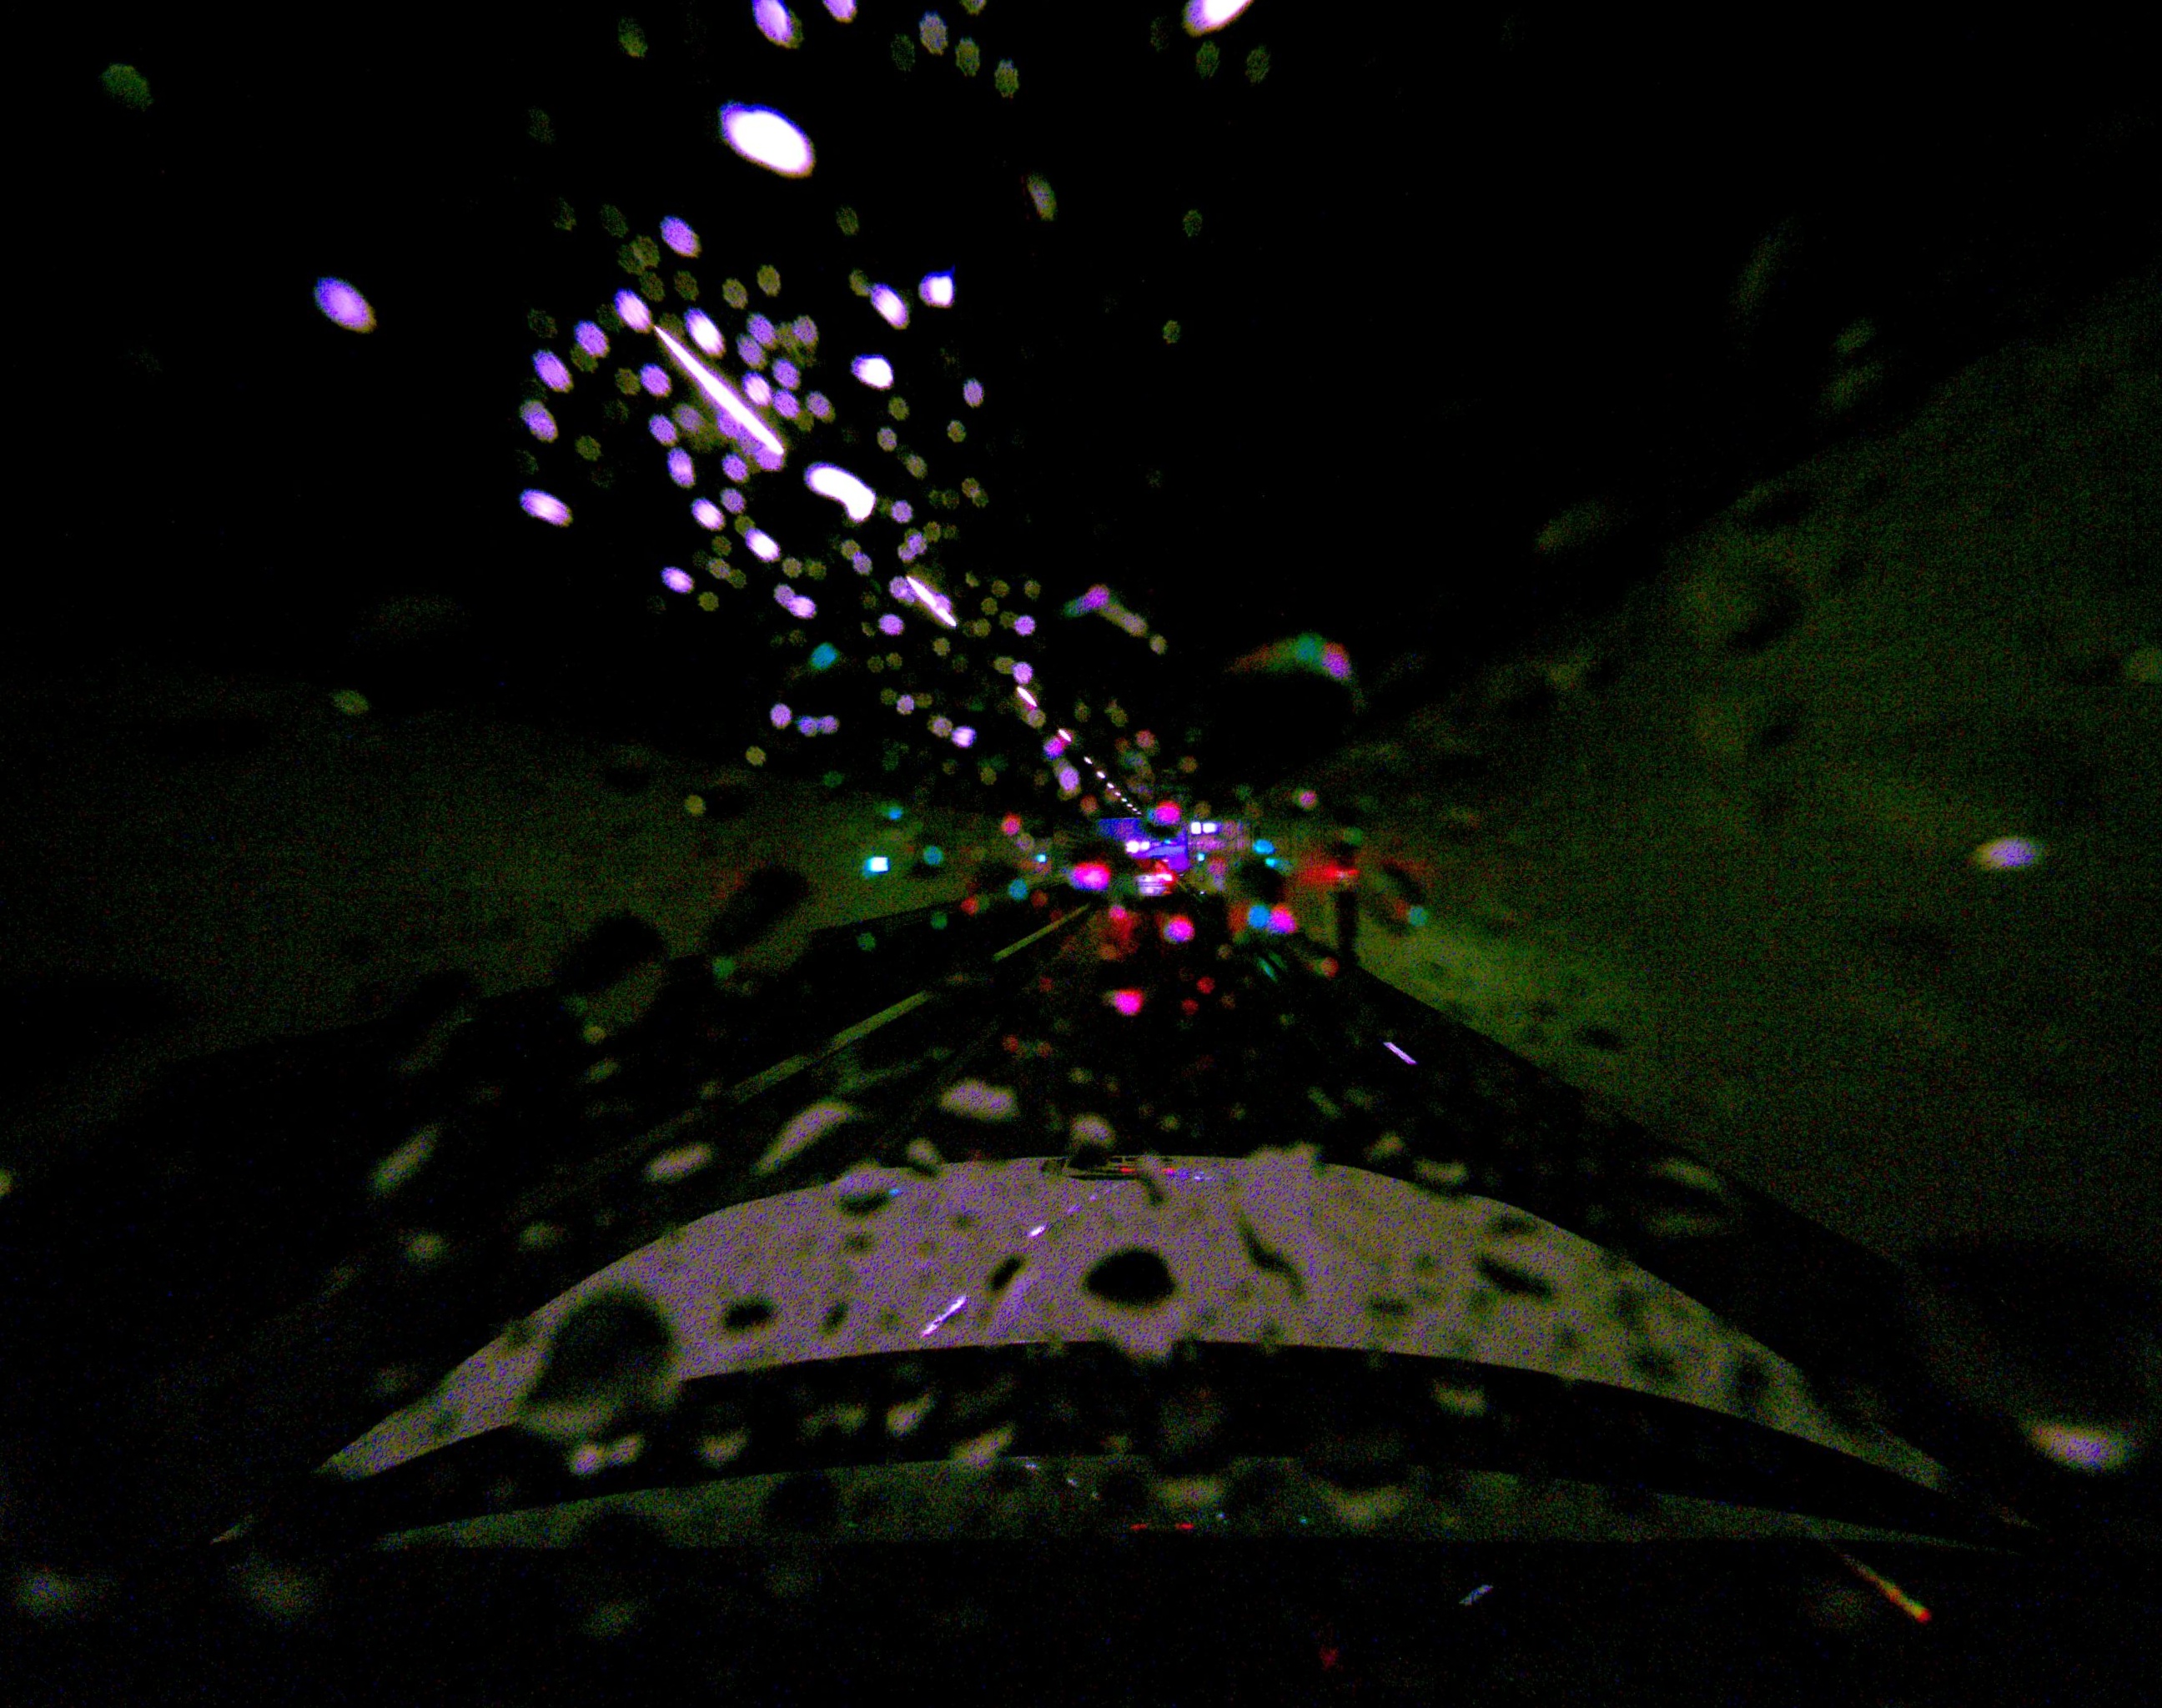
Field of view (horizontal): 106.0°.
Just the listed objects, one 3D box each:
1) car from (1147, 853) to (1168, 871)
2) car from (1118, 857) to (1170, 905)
[{"bbox_3d":[7.080,0.762,75.007,1.871,1.621,4.006,0,-1,6],"label":"car"},{"bbox_3d":[2.003,0.792,25.580,1.524,1.397,3.438,0,-1,5],"label":"car"}]
